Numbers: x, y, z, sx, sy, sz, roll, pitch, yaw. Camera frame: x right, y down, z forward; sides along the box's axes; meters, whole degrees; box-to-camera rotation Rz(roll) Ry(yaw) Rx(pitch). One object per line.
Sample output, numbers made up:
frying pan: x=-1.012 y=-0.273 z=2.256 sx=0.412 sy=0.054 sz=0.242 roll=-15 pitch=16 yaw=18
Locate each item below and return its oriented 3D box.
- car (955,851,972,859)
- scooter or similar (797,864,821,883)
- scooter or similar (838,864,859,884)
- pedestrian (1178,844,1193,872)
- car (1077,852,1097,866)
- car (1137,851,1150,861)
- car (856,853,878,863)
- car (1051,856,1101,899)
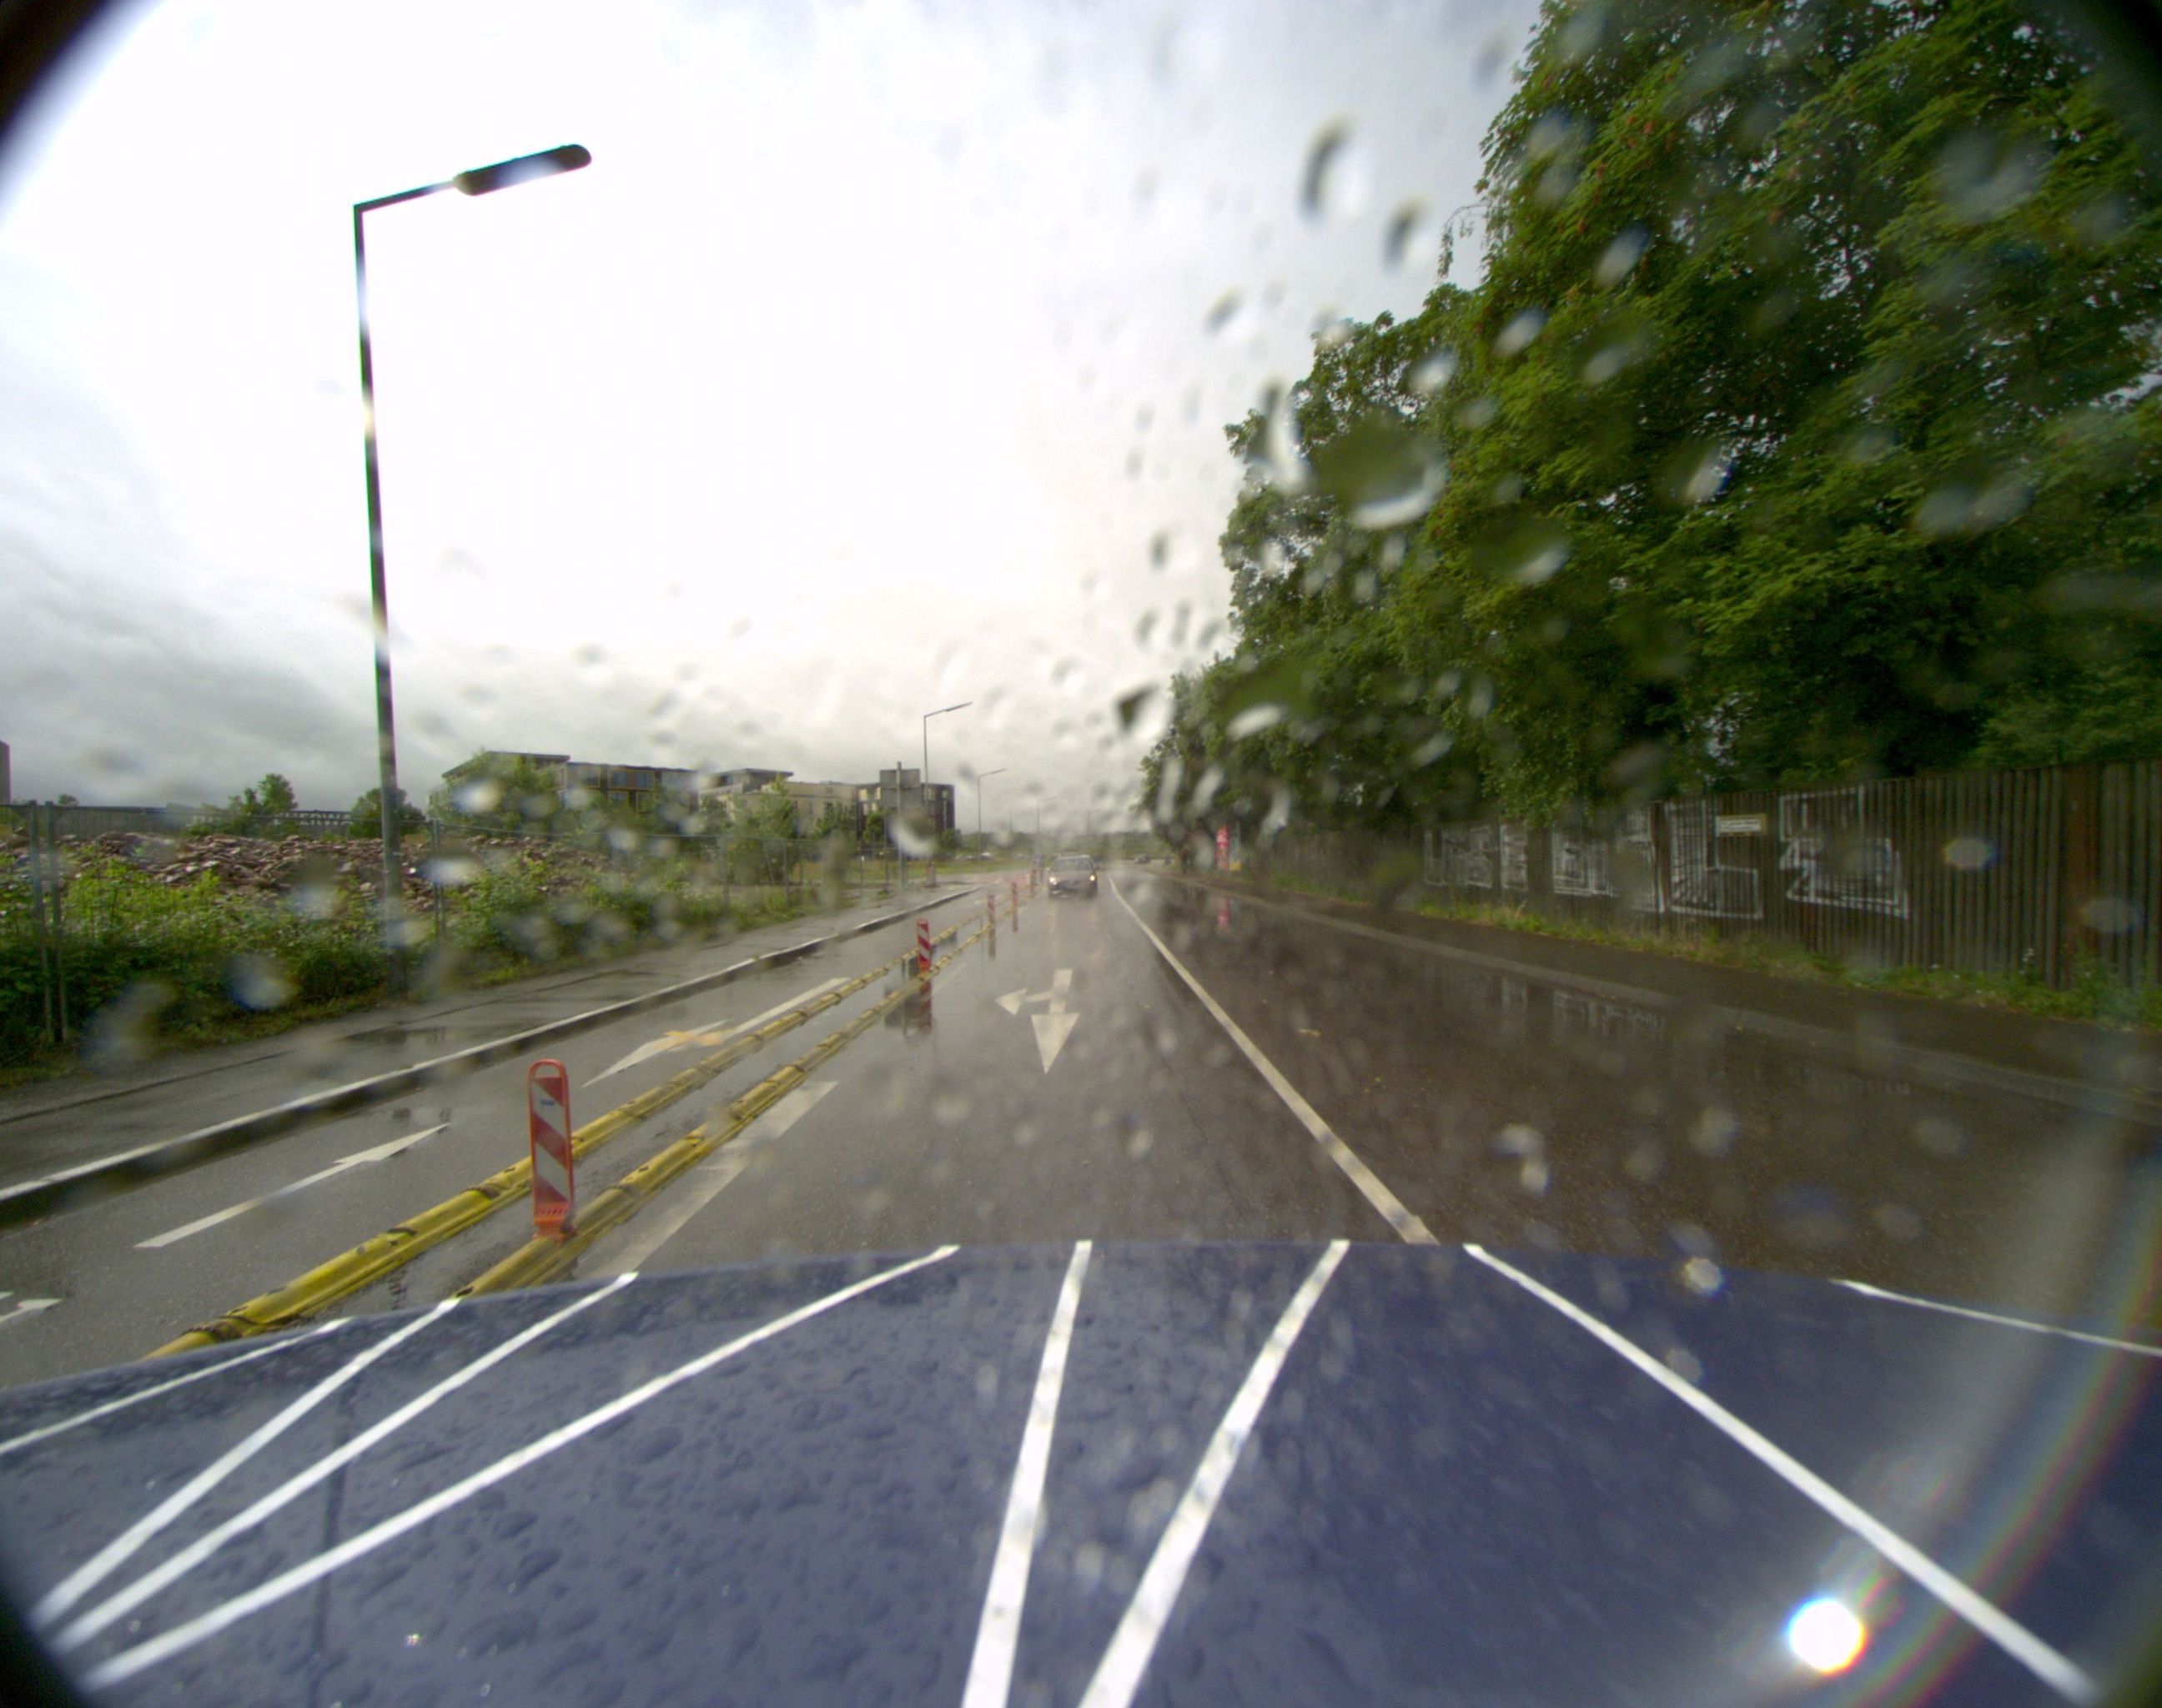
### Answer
car: x=-27.092 y=0.201 z=175.396 sx=3.657 sy=1.601 sz=1.596 roll=-2 pitch=1 yaw=-40
scooter or similar: x=-16.235 y=1.153 z=45.386 sx=1.191 sy=1.143 sz=0.748 roll=-1 pitch=1 yaw=33
scooter or similar: x=-13.572 y=1.149 z=44.352 sx=1.191 sy=1.143 sz=0.484 roll=-1 pitch=1 yaw=34
pedestrian: x=6.587 y=0.258 z=48.044 sx=0.841 sy=1.759 sz=0.644 roll=-1 pitch=1 yaw=0
car: x=0.756 y=0.603 z=93.571 sx=1.795 sy=1.623 sz=3.821 roll=-1 pitch=0 yaw=11
car: x=10.724 y=0.352 z=129.733 sx=1.795 sy=1.623 sz=3.621 roll=-1 pitch=0 yaw=11
car: x=-37.051 y=0.737 z=131.728 sx=1.644 sy=1.573 sz=3.674 roll=-1 pitch=0 yaw=24
car: x=-0.245 y=0.828 z=28.538 sx=1.724 sy=1.423 sz=3.817 roll=-2 pitch=0 yaw=-2
